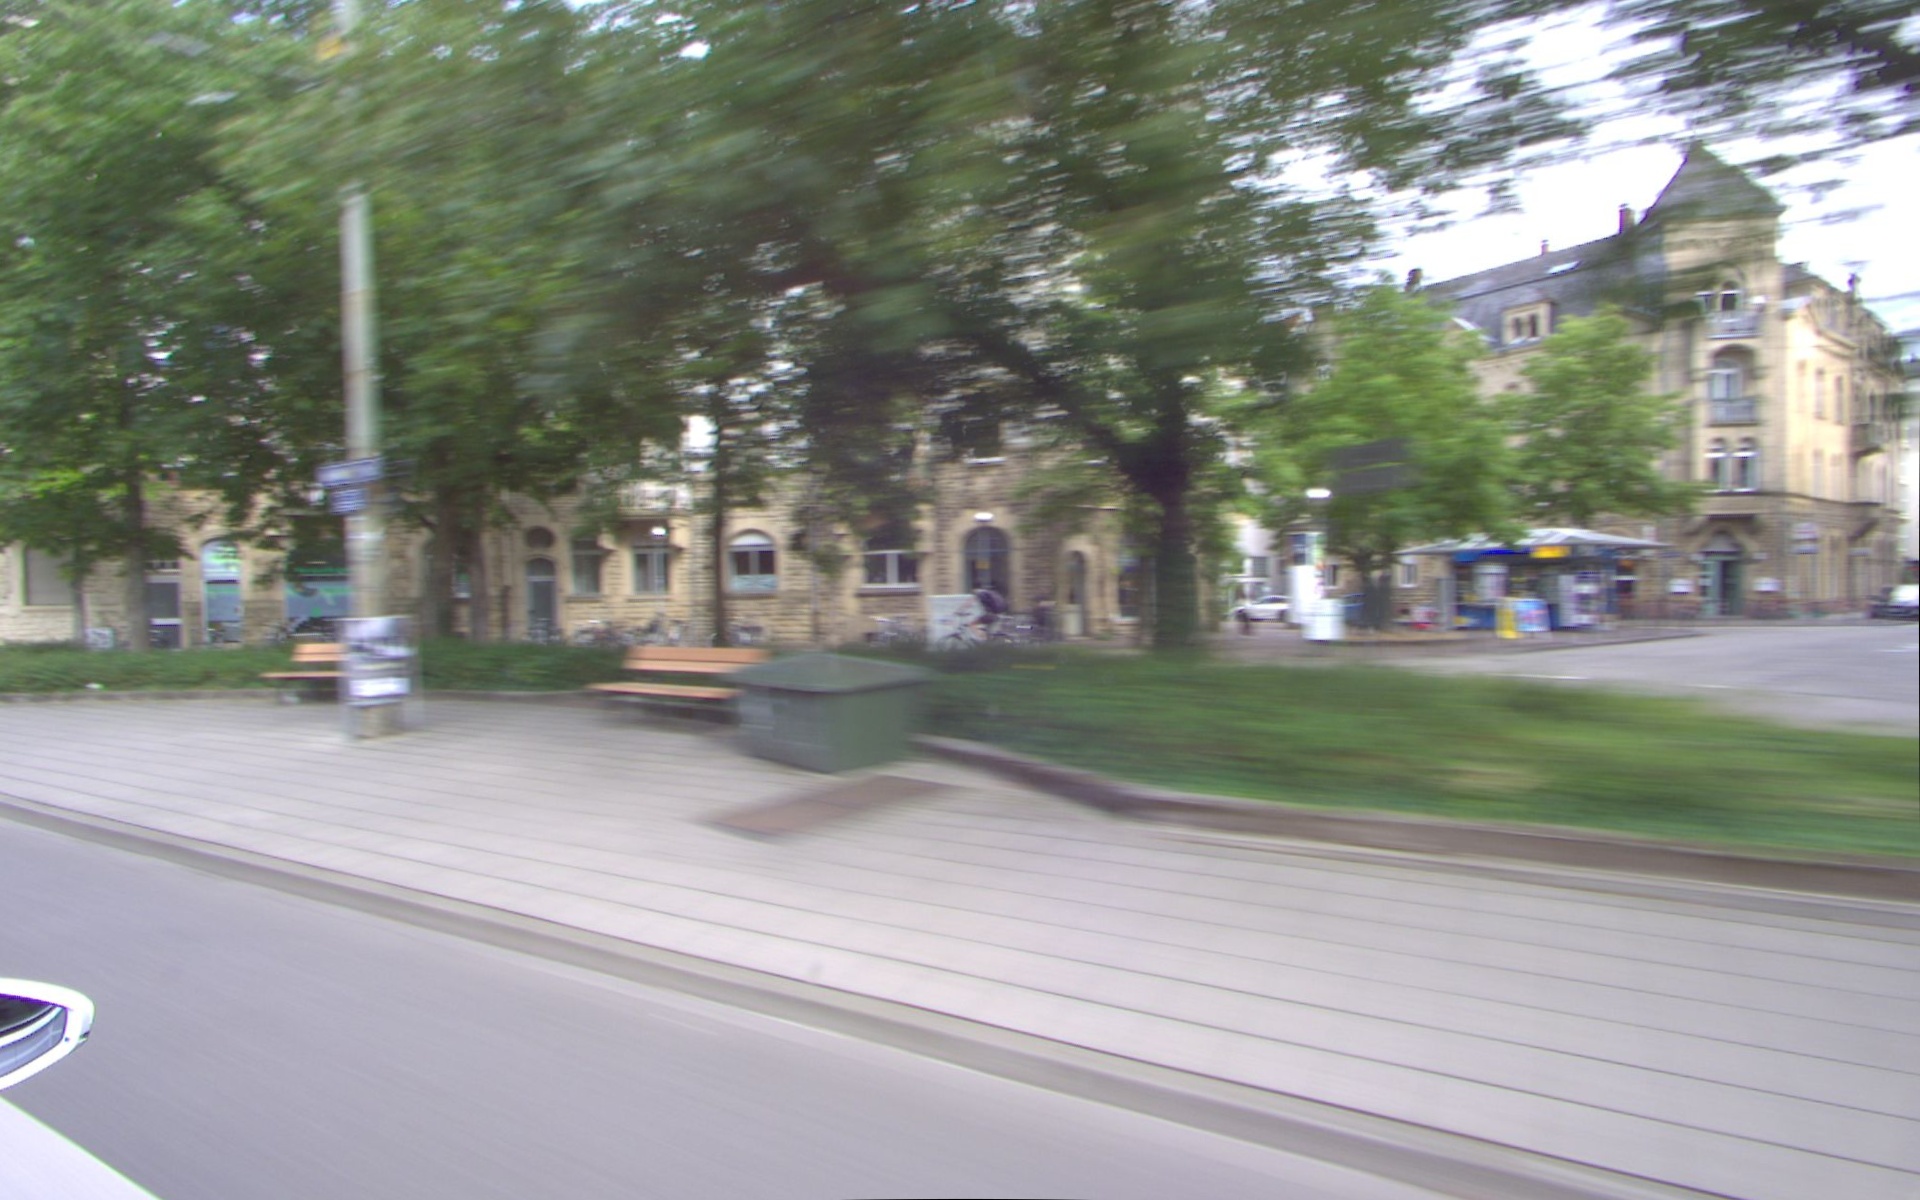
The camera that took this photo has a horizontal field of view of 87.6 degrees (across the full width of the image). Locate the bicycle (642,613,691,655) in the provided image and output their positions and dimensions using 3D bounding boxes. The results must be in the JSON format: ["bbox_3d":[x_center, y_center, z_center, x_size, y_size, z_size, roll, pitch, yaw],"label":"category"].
[{"bbox_3d":[-8.446,0.959,28.904,0.583,1.143,1.893,-1,0,9],"label":"bicycle"}]

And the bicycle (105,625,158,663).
[{"bbox_3d":[-23.110,1.218,27.952,0.593,0.985,1.667,-1,1,-21],"label":"bicycle"}]

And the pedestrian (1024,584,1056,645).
[{"bbox_3d":[2.251,0.397,28.208,0.819,1.698,0.732,-1,1,-1],"label":"pedestrian"}]

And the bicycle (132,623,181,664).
[{"bbox_3d":[-22.300,1.191,27.834,0.441,1.069,1.646,-1,1,-16],"label":"bicycle"}]

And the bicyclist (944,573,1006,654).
[{"bbox_3d":[0.314,0.277,20.592,1.119,1.627,0.645,0,1,17],"label":"bicyclist"}]

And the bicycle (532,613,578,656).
[{"bbox_3d":[-11.813,0.997,29.266,0.522,1.143,1.892,-1,2,1],"label":"bicycle"}]

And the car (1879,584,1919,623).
[{"bbox_3d":[39.222,0.140,40.946,3.955,1.539,1.983,0,0,-40],"label":"car"}]

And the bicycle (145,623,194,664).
[{"bbox_3d":[-21.899,1.184,27.769,0.441,1.069,1.646,-1,1,-16],"label":"bicycle"}]

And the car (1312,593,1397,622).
[{"bbox_3d":[20.167,0.385,51.314,1.751,1.414,3.677,-1,1,-37],"label":"car"}]

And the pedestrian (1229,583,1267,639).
[{"bbox_3d":[8.595,0.329,29.891,0.825,1.645,0.727,-2,1,-39],"label":"pedestrian"}]

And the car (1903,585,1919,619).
[{"bbox_3d":[44.466,0.073,45.464,3.955,1.539,1.983,0,0,-40],"label":"car"}]

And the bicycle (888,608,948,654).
[{"bbox_3d":[-1.094,0.810,26.566,0.526,1.143,1.881,0,1,36],"label":"bicycle"}]

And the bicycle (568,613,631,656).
[{"bbox_3d":[-10.439,0.985,29.072,0.588,1.143,1.888,0,1,22],"label":"bicycle"}]

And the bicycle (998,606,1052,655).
[{"bbox_3d":[1.671,0.753,25.347,0.525,1.143,1.883,0,1,32],"label":"bicycle"}]

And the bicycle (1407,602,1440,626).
[{"bbox_3d":[22.498,0.666,48.553,1.874,1.132,0.604,-1,1,-35],"label":"bicycle"}]

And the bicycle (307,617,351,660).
[{"bbox_3d":[-17.930,1.078,28.491,0.523,1.143,1.890,-1,1,-16],"label":"bicycle"}]

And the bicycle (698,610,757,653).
[{"bbox_3d":[-6.601,0.874,28.533,0.524,1.143,1.886,0,1,27],"label":"bicycle"}]

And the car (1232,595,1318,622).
[{"bbox_3d":[17.339,0.467,55.254,1.751,1.414,4.322,-1,1,-37],"label":"car"}]

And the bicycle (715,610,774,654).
[{"bbox_3d":[-6.067,0.886,28.302,0.524,1.143,1.886,0,1,27],"label":"bicycle"}]

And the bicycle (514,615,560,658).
[{"bbox_3d":[-12.353,1.059,29.297,0.522,1.143,1.893,-1,1,1],"label":"bicycle"}]

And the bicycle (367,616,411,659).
[{"bbox_3d":[-16.368,1.064,28.758,0.655,1.143,1.890,-1,1,-16],"label":"bicycle"}]

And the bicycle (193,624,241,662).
[{"bbox_3d":[-20.773,1.187,28.036,0.523,0.985,1.646,-1,1,-16],"label":"bicycle"}]

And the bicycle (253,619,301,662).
[{"bbox_3d":[-19.168,1.114,28.150,0.523,1.143,1.890,-1,1,-16],"label":"bicycle"}]

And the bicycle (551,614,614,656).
[{"bbox_3d":[-11.004,0.995,29.253,0.553,1.143,1.888,0,1,22],"label":"bicycle"}]

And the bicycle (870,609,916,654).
[{"bbox_3d":[-1.794,0.824,27.130,0.523,1.143,1.889,0,1,20],"label":"bicycle"}]

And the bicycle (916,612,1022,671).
[{"bbox_3d":[0.185,0.842,20.649,2.065,1.167,0.653,-1,1,18],"label":"bicycle"}]

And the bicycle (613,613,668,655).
[{"bbox_3d":[-9.239,0.969,29.036,0.572,1.143,1.891,-1,1,14],"label":"bicycle"}]
